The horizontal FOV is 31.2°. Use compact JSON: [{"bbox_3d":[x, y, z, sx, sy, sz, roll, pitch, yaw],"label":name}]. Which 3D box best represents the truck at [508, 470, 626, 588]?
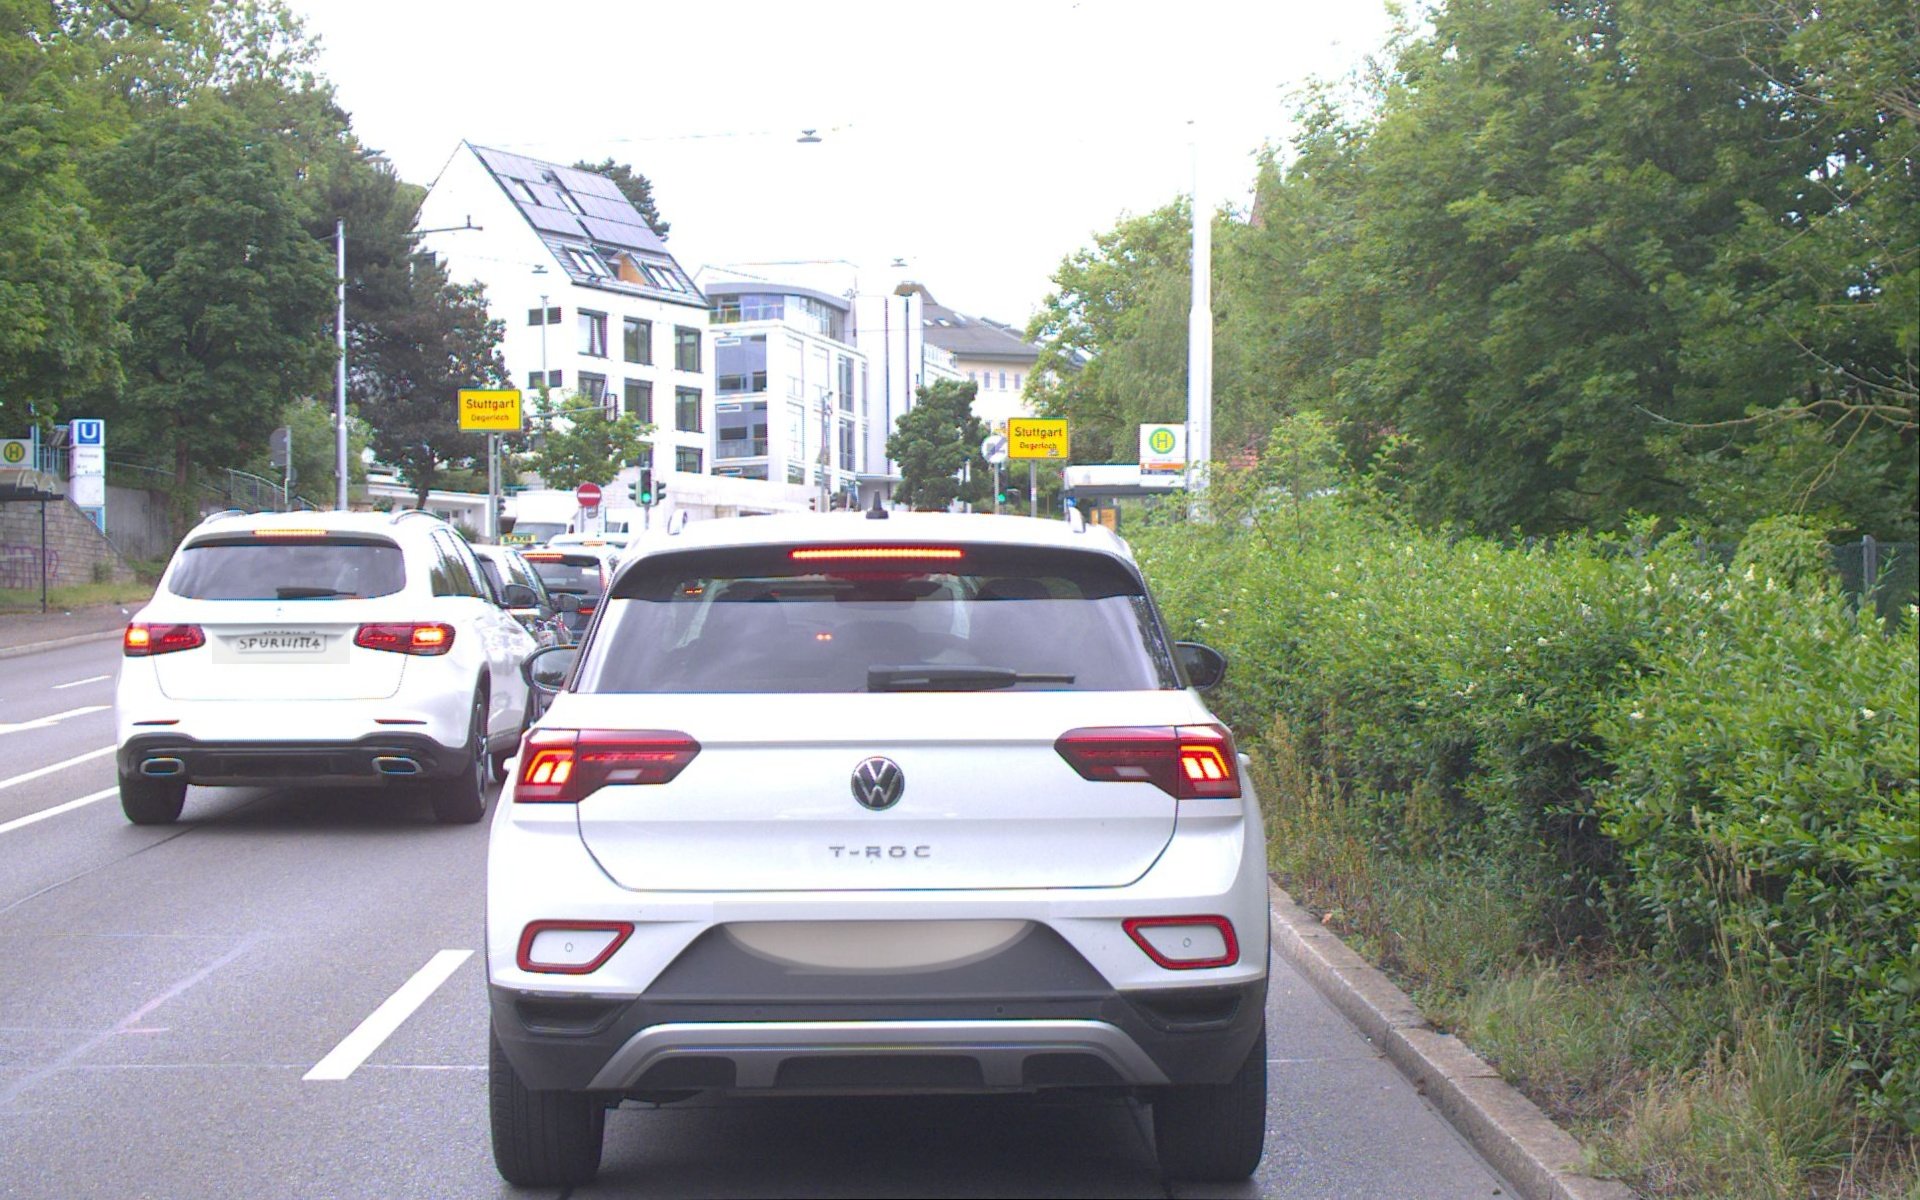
[{"bbox_3d":[-9.458,-1.711,83.089,2.362,2.697,4.478,-2,1,-1],"label":"truck"}]

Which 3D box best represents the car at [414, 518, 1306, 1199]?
[{"bbox_3d":[-0.252,0.561,9.097,1.829,1.520,4.000,-1,1,-1],"label":"car"}]

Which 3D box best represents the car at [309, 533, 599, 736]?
[{"bbox_3d":[-4.019,0.220,27.894,1.829,1.492,4.000,-1,1,-1],"label":"car"}]

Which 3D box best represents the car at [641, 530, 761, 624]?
[{"bbox_3d":[-4.397,-0.424,58.820,1.829,1.520,4.000,-1,1,-1],"label":"car"}]

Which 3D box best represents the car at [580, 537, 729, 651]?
[{"bbox_3d":[-4.314,-0.116,49.001,1.829,1.520,4.000,-1,1,-1],"label":"car"}]

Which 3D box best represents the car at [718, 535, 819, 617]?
[{"bbox_3d":[-3.735,-0.491,67.478,1.829,1.520,4.000,-1,1,-1],"label":"car"}]

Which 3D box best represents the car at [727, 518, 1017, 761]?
[{"bbox_3d":[-0.612,0.213,24.066,1.829,1.520,4.000,-1,1,-1],"label":"car"}]

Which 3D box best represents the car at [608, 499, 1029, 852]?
[{"bbox_3d":[-0.672,0.296,17.190,1.829,1.520,4.000,-1,1,-1],"label":"car"}]

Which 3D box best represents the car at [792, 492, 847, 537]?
[{"bbox_3d":[-4.846,-2.947,119.130,1.829,1.520,4.000,-1,1,-1],"label":"car"}]

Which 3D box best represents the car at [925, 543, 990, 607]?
[{"bbox_3d":[-0.103,-0.841,112.389,1.993,2.007,4.000,-1,1,-1],"label":"car"}]

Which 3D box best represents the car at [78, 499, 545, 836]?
[{"bbox_3d":[-3.458,0.299,19.043,1.918,1.664,4.000,0,1,-1],"label":"car"}]

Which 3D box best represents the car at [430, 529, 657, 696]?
[{"bbox_3d":[-4.055,0.080,34.019,1.829,1.520,4.000,-1,1,-1],"label":"car"}]

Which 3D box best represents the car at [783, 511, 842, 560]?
[{"bbox_3d":[-4.819,-2.113,112.416,1.829,1.520,4.000,-1,1,-1],"label":"car"}]

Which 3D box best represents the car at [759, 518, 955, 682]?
[{"bbox_3d":[-1.031,-0.042,34.650,1.829,1.520,4.000,-1,1,-1],"label":"car"}]

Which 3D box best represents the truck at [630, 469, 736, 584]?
[{"bbox_3d":[-7.041,-1.880,87.841,2.362,2.772,4.478,-2,1,-1],"label":"truck"}]

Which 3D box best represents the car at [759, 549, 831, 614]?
[{"bbox_3d":[-4.459,-0.521,93.215,1.815,1.651,3.929,-2,1,-1],"label":"car"}]

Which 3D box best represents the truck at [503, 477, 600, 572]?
[{"bbox_3d":[-13.742,-2.524,116.032,2.293,3.040,6.979,-1,1,1],"label":"truck"}]

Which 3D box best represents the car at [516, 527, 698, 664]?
[{"bbox_3d":[-4.167,-0.089,41.119,1.829,1.520,4.000,-1,1,-1],"label":"car"}]
